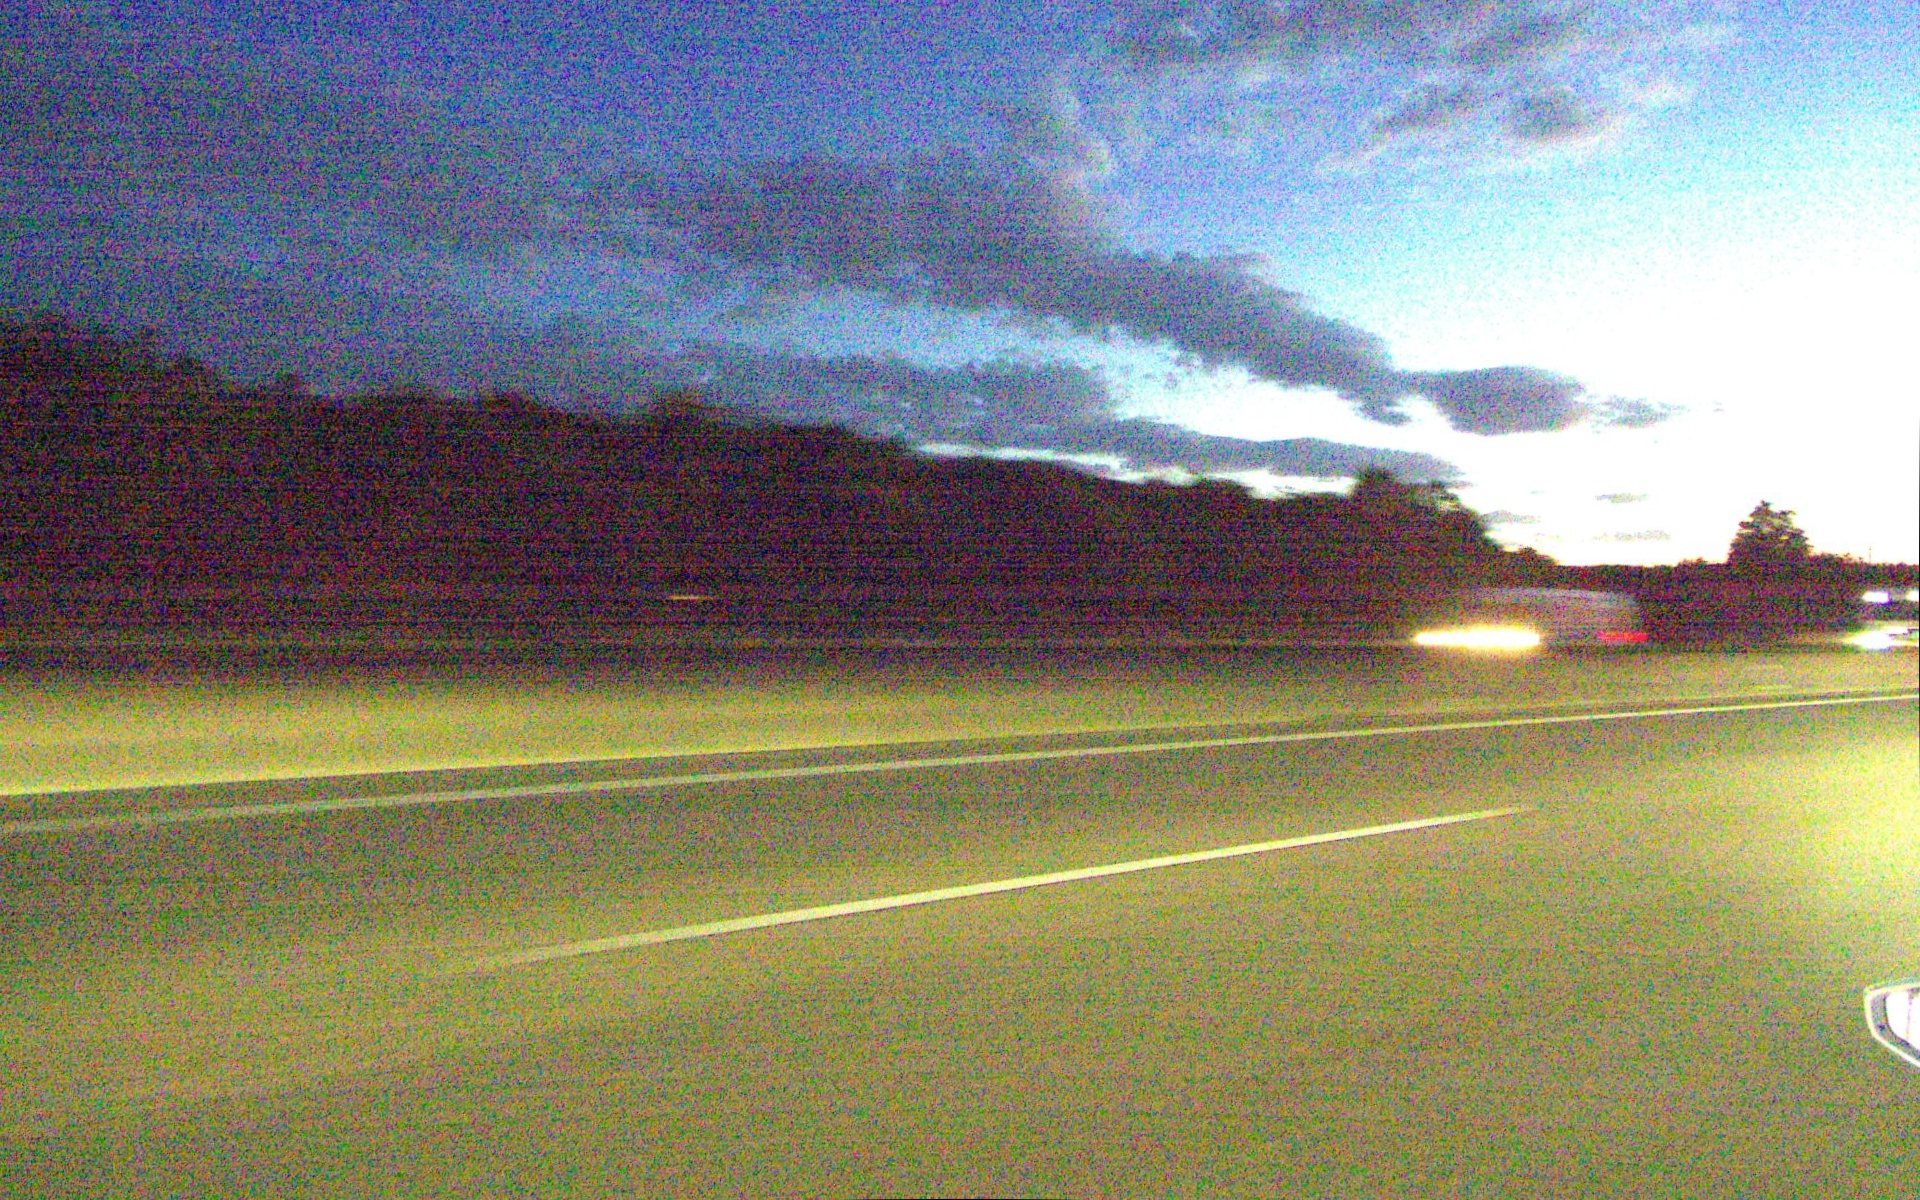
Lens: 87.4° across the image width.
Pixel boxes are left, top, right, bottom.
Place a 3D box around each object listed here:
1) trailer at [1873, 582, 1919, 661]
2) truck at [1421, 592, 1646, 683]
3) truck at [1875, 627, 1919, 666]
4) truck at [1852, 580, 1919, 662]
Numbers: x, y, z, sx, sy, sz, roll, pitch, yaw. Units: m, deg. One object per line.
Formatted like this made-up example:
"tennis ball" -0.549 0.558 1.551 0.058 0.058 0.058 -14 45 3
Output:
"trailer" 60.512 1.362 61.138 13.859 4.492 3.310 1 -2 -30
"truck" 18.735 1.189 32.666 7.793 2.677 2.859 1 -1 -30
"truck" 46.393 2.238 48.494 4.709 1.780 2.024 1 0 -31
"truck" 54.784 1.220 57.776 6.628 4.492 3.310 1 -2 -30
